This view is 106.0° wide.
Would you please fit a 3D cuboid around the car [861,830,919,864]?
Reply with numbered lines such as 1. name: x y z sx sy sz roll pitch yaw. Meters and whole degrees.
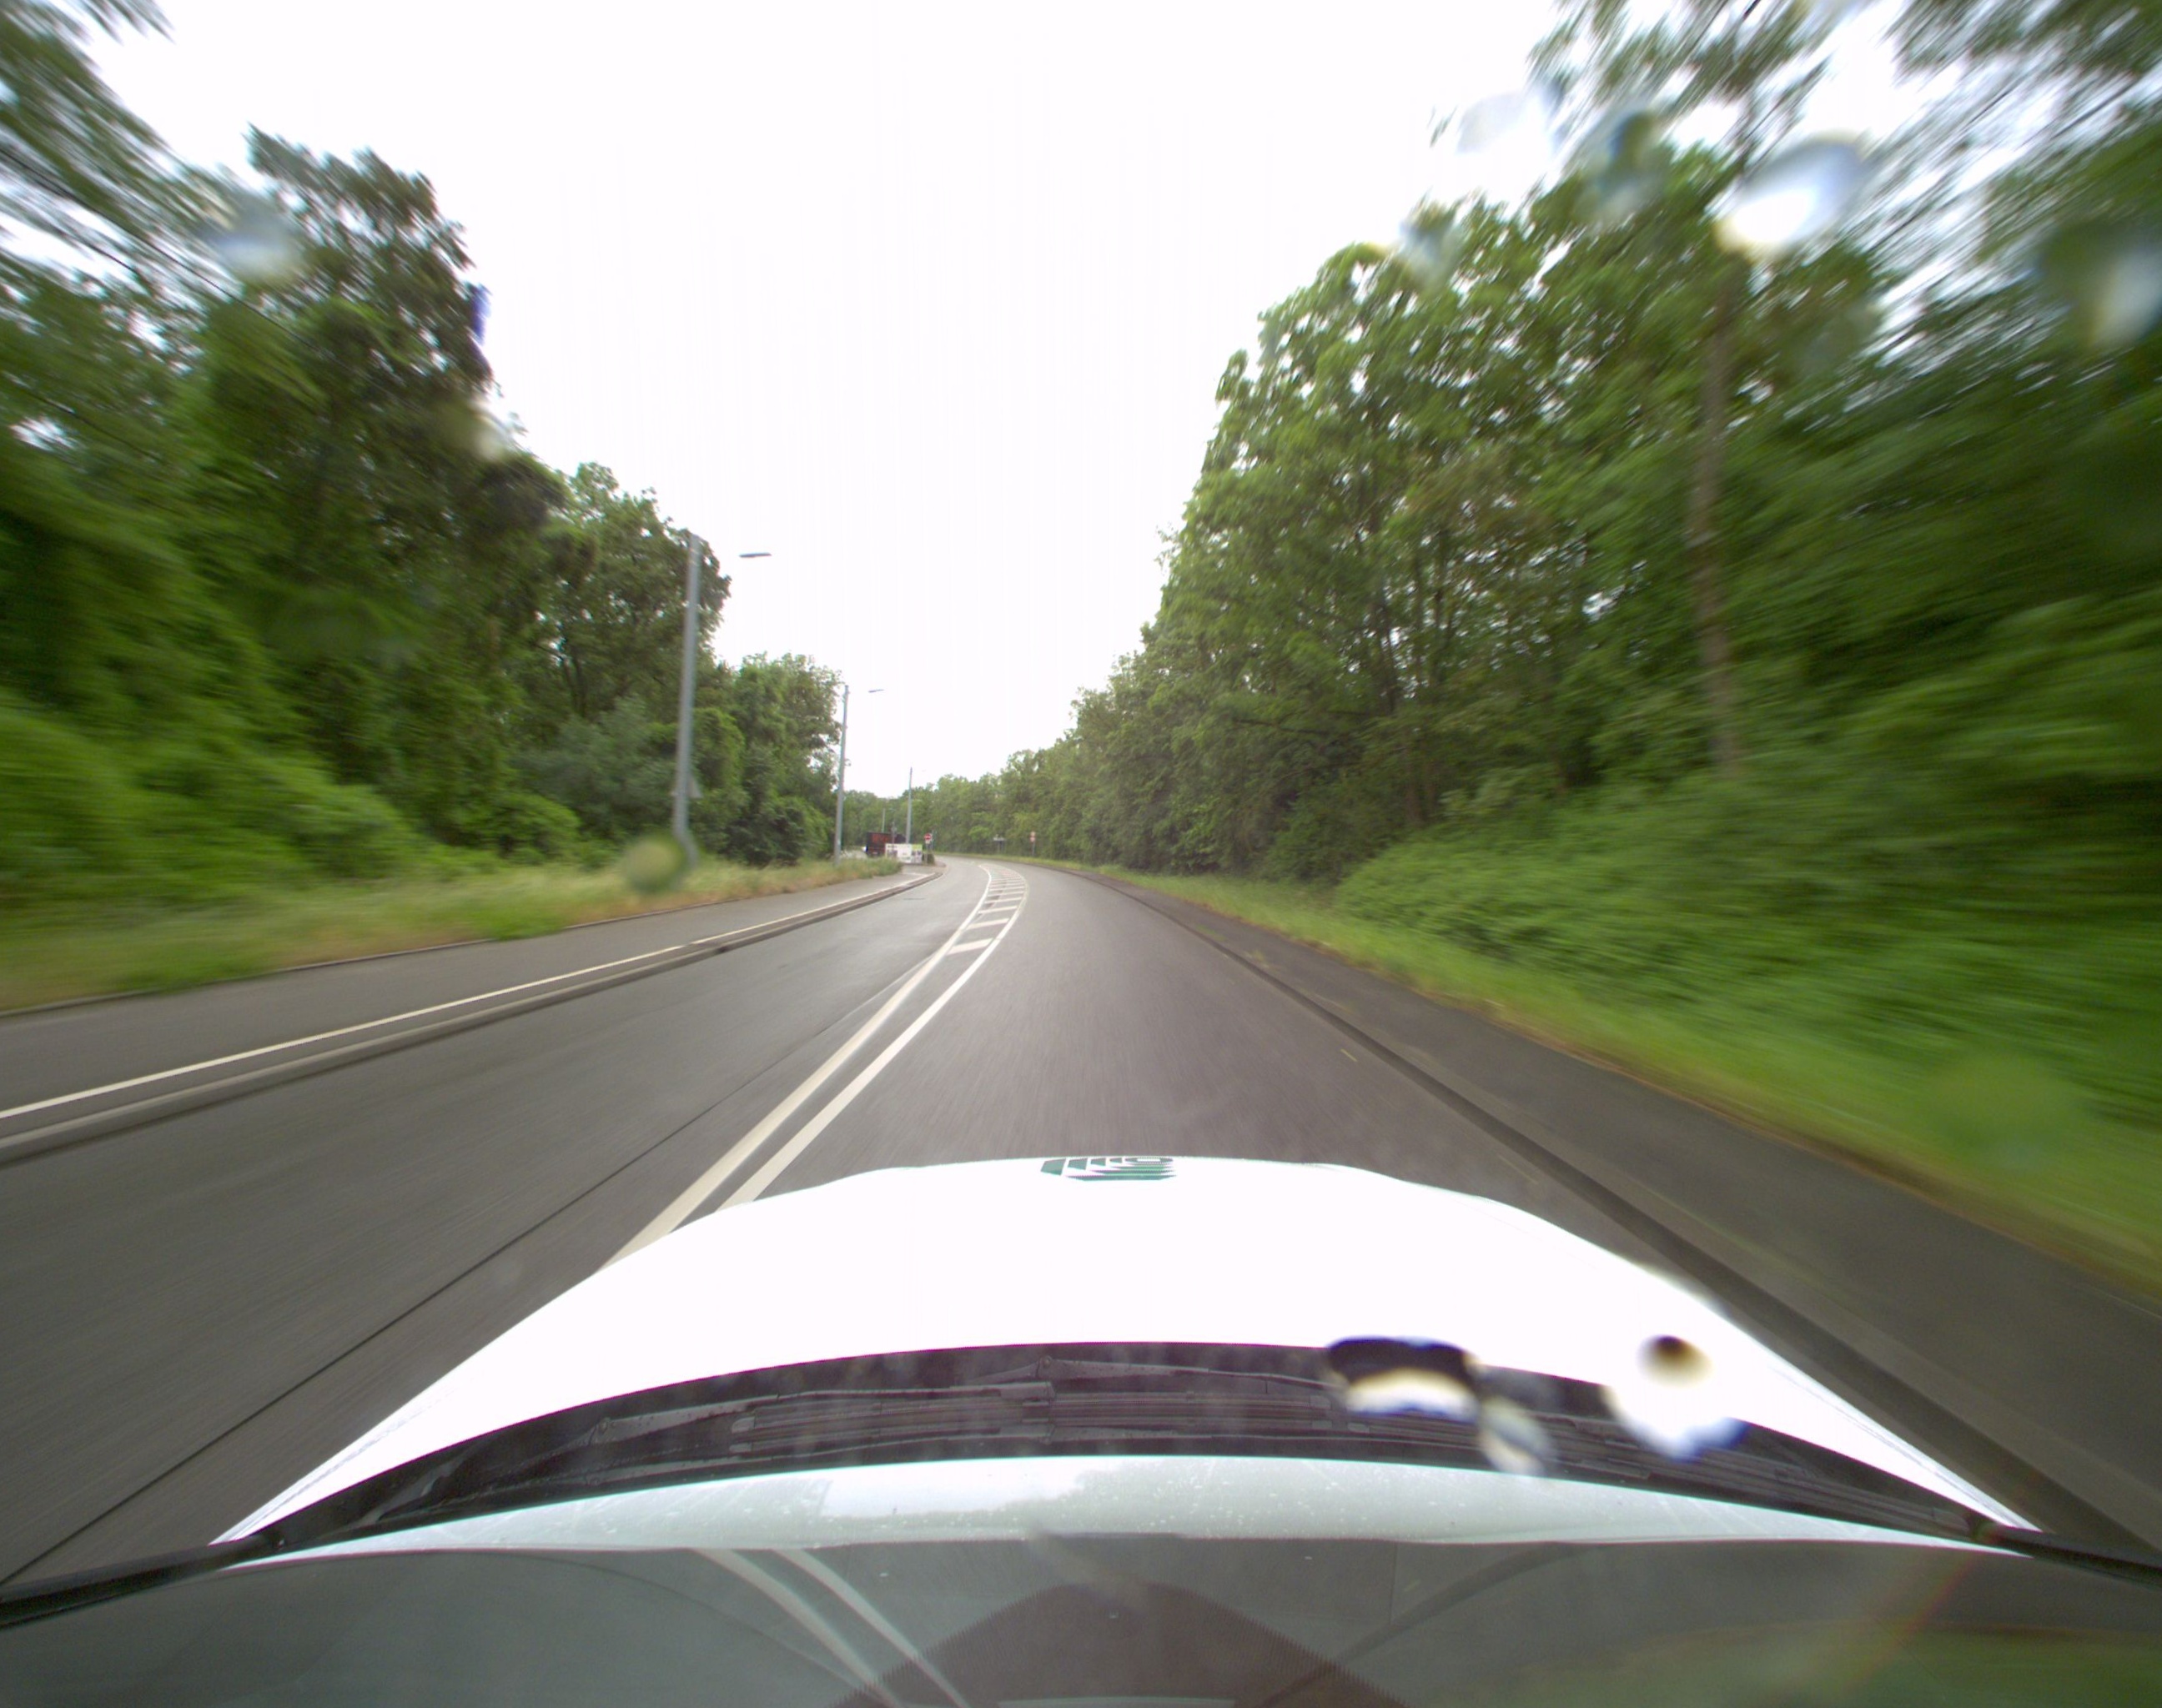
1. car: -20.454 -0.714 87.411 5.961 3.502 1.989 0 0 -17
